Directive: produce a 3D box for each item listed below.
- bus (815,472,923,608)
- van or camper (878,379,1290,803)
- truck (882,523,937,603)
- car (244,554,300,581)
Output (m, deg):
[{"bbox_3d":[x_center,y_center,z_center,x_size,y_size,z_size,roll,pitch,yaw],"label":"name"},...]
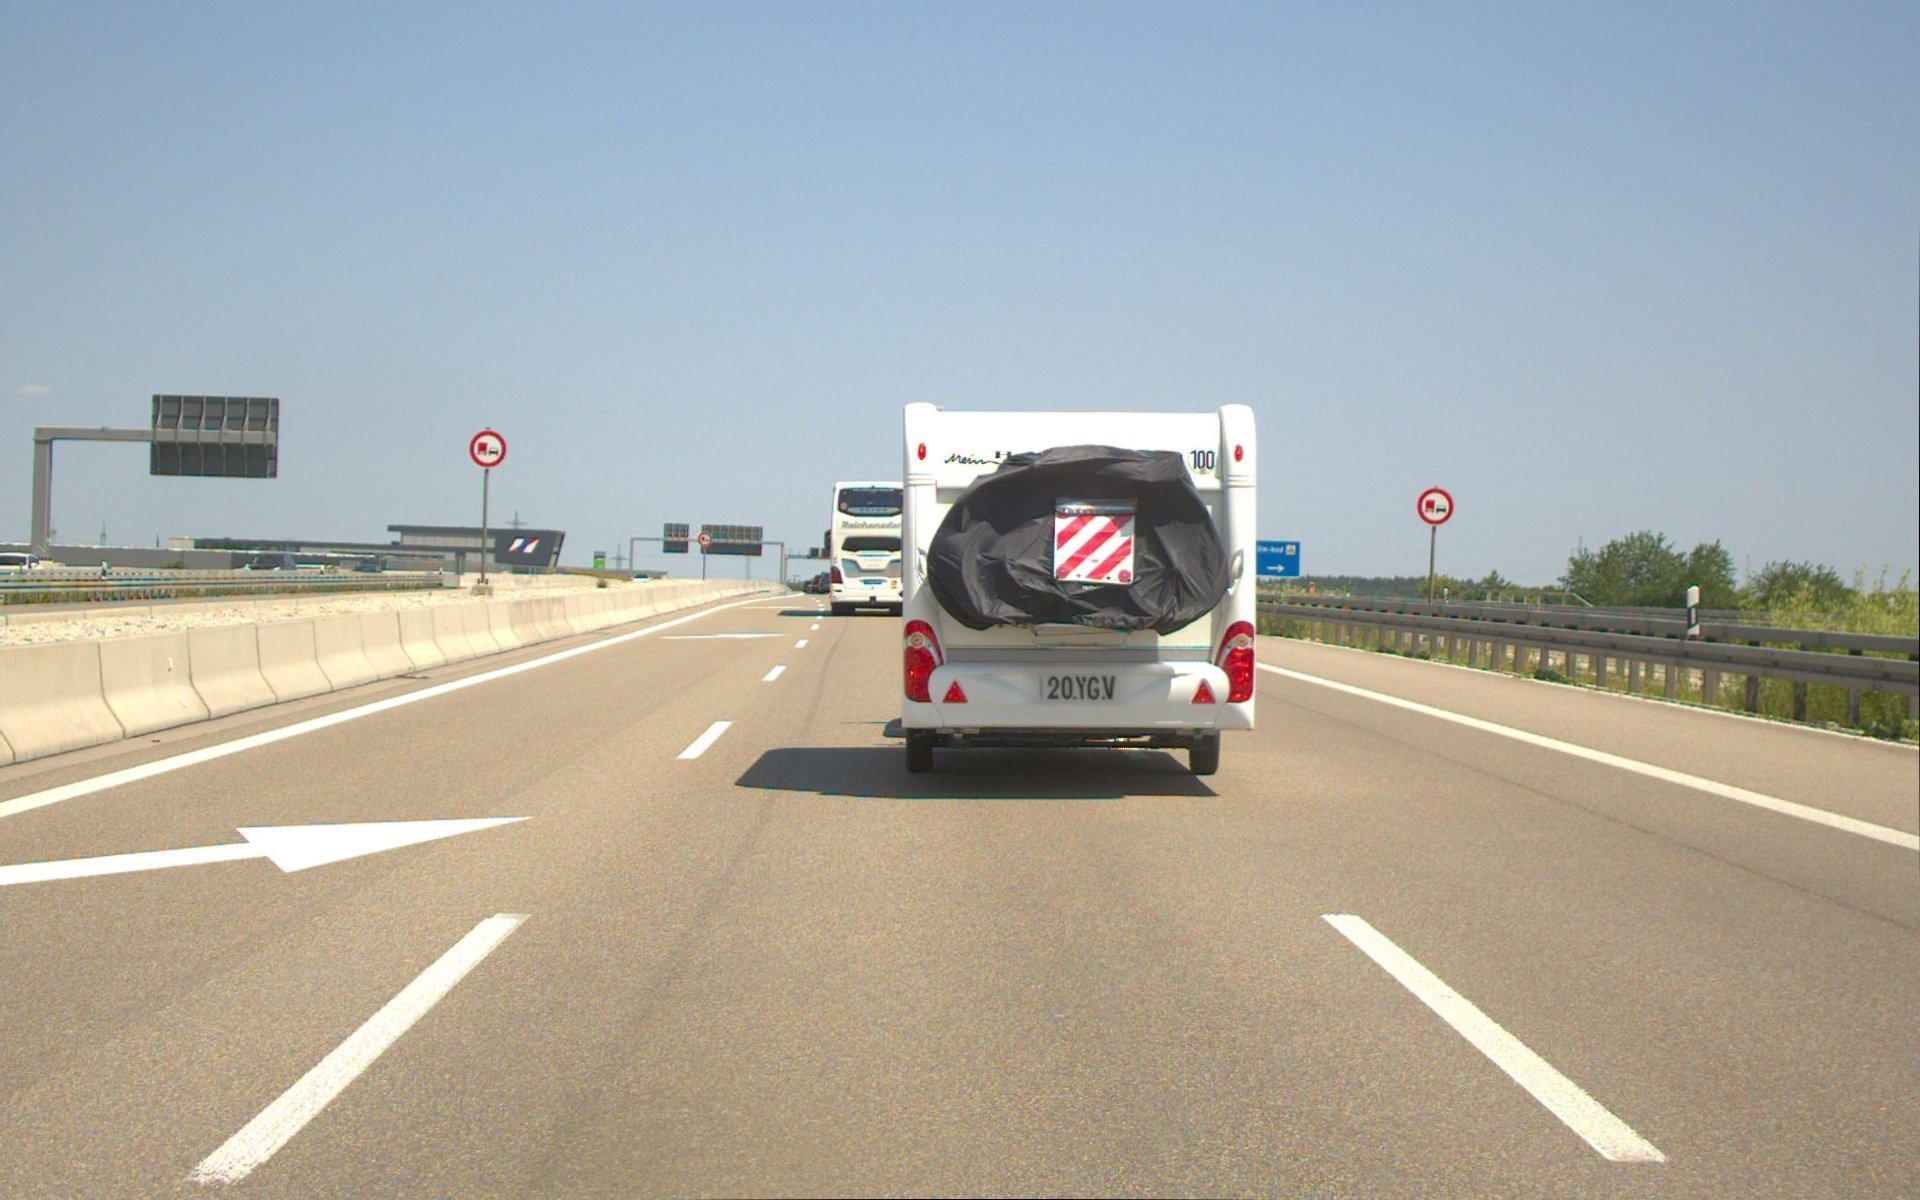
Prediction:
[{"bbox_3d":[-2.890,-1.845,106.317,2.980,3.961,9.106,1,1,-3],"label":"bus"},{"bbox_3d":[0.737,-0.092,25.144,2.512,2.584,7.817,1,1,0],"label":"van or camper"},{"bbox_3d":[-3.346,-2.346,226.186,3.379,4.449,13.566,1,-2,-1],"label":"truck"},{"bbox_3d":[-35.502,-1.690,177.420,1.993,1.375,4.362,1,1,0],"label":"car"}]
